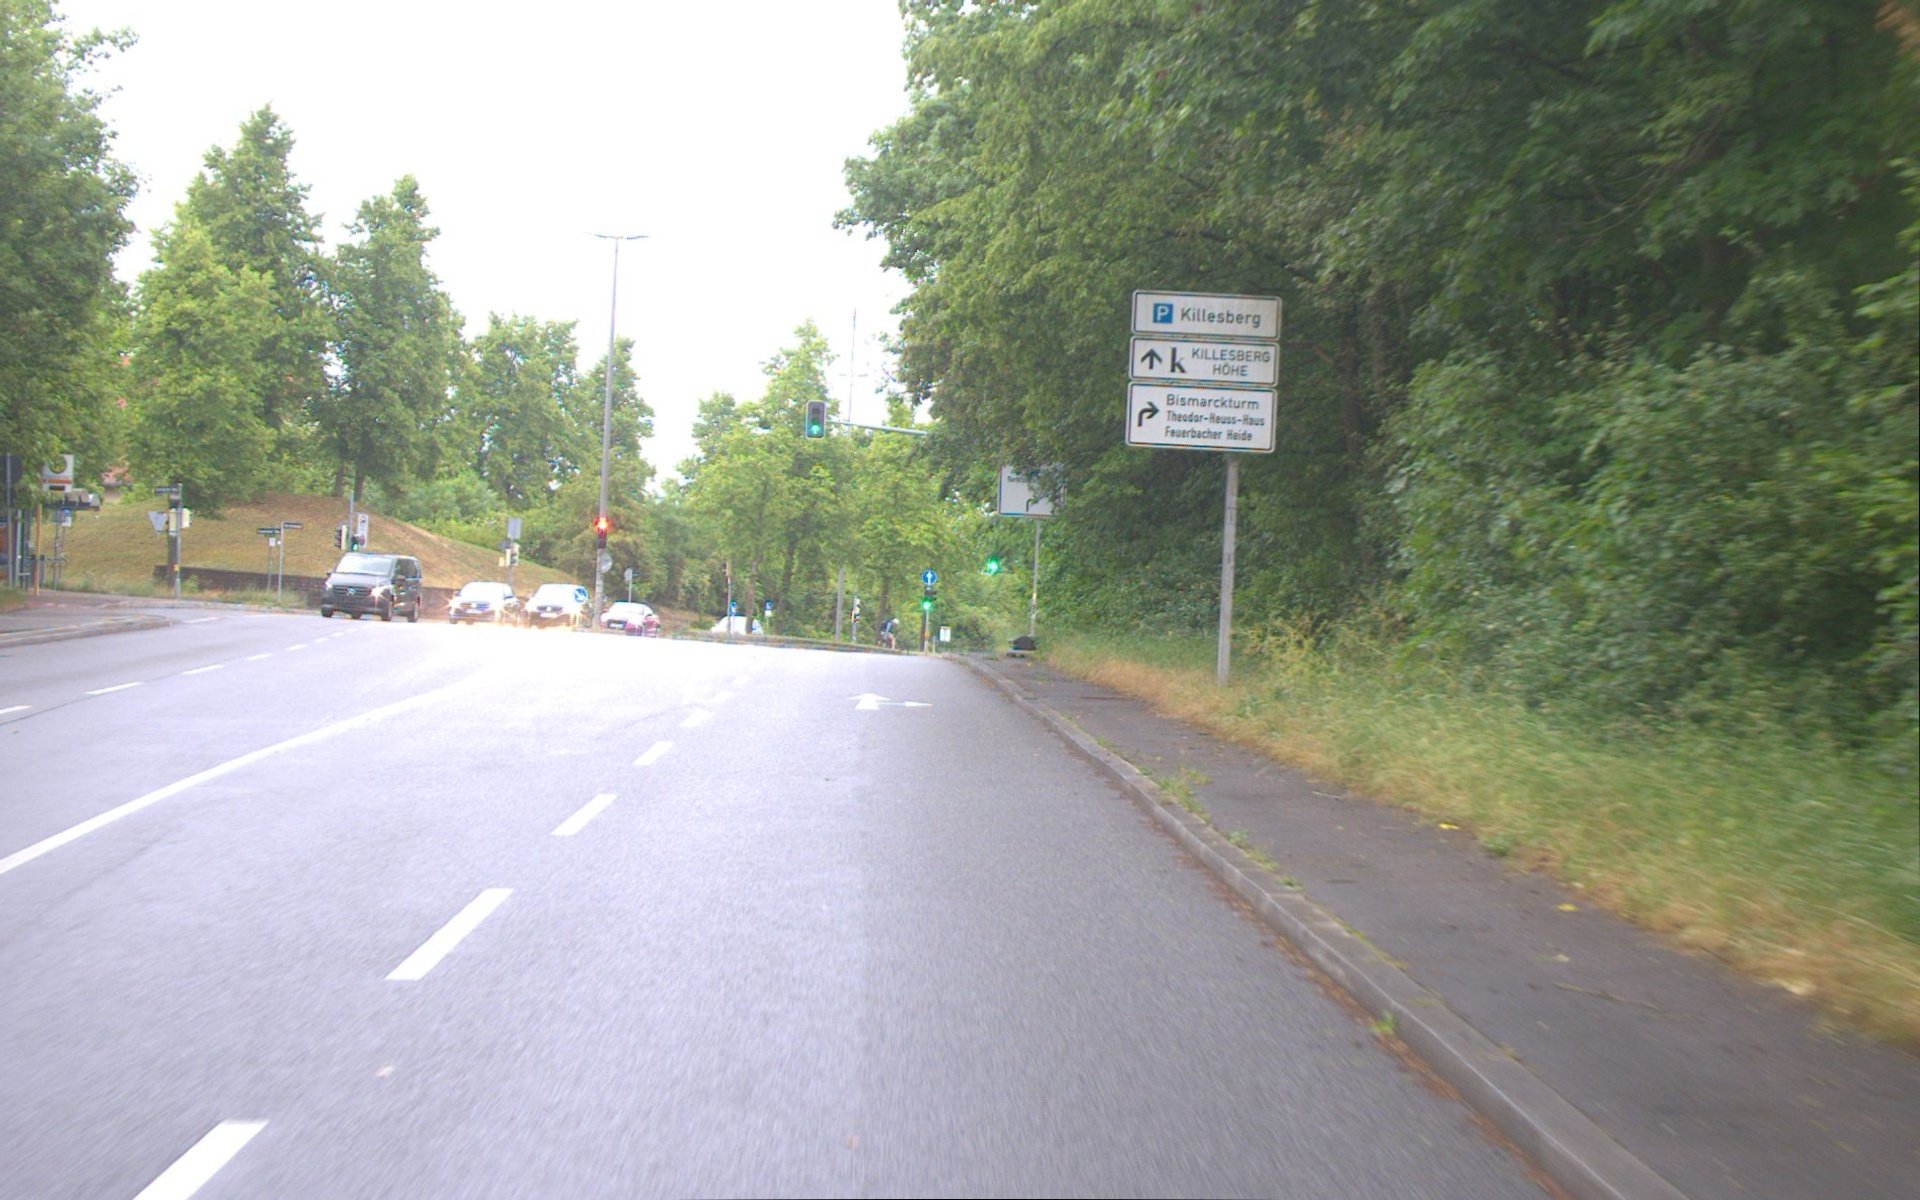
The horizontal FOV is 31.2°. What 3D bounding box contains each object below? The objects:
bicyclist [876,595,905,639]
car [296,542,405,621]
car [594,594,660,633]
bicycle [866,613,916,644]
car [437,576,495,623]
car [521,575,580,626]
[{"bbox_3d":[-2.833,0.692,140.170,0.799,1.746,0.725,7,-6,-43],"label":"bicyclist"},{"bbox_3d":[-17.053,-0.541,96.390,2.102,1.939,5.160,6,0,-2],"label":"car"},{"bbox_3d":[-12.919,0.512,133.693,1.875,1.369,4.384,3,0,3],"label":"car"},{"bbox_3d":[-2.797,1.168,140.217,2.134,1.139,0.554,6,-2,-43],"label":"bicycle"},{"bbox_3d":[-15.745,-0.024,109.754,1.631,1.389,4.001,2,0,-6],"label":"car"},{"bbox_3d":[-12.534,-0.009,105.129,1.700,1.422,4.079,3,0,-7],"label":"car"}]
